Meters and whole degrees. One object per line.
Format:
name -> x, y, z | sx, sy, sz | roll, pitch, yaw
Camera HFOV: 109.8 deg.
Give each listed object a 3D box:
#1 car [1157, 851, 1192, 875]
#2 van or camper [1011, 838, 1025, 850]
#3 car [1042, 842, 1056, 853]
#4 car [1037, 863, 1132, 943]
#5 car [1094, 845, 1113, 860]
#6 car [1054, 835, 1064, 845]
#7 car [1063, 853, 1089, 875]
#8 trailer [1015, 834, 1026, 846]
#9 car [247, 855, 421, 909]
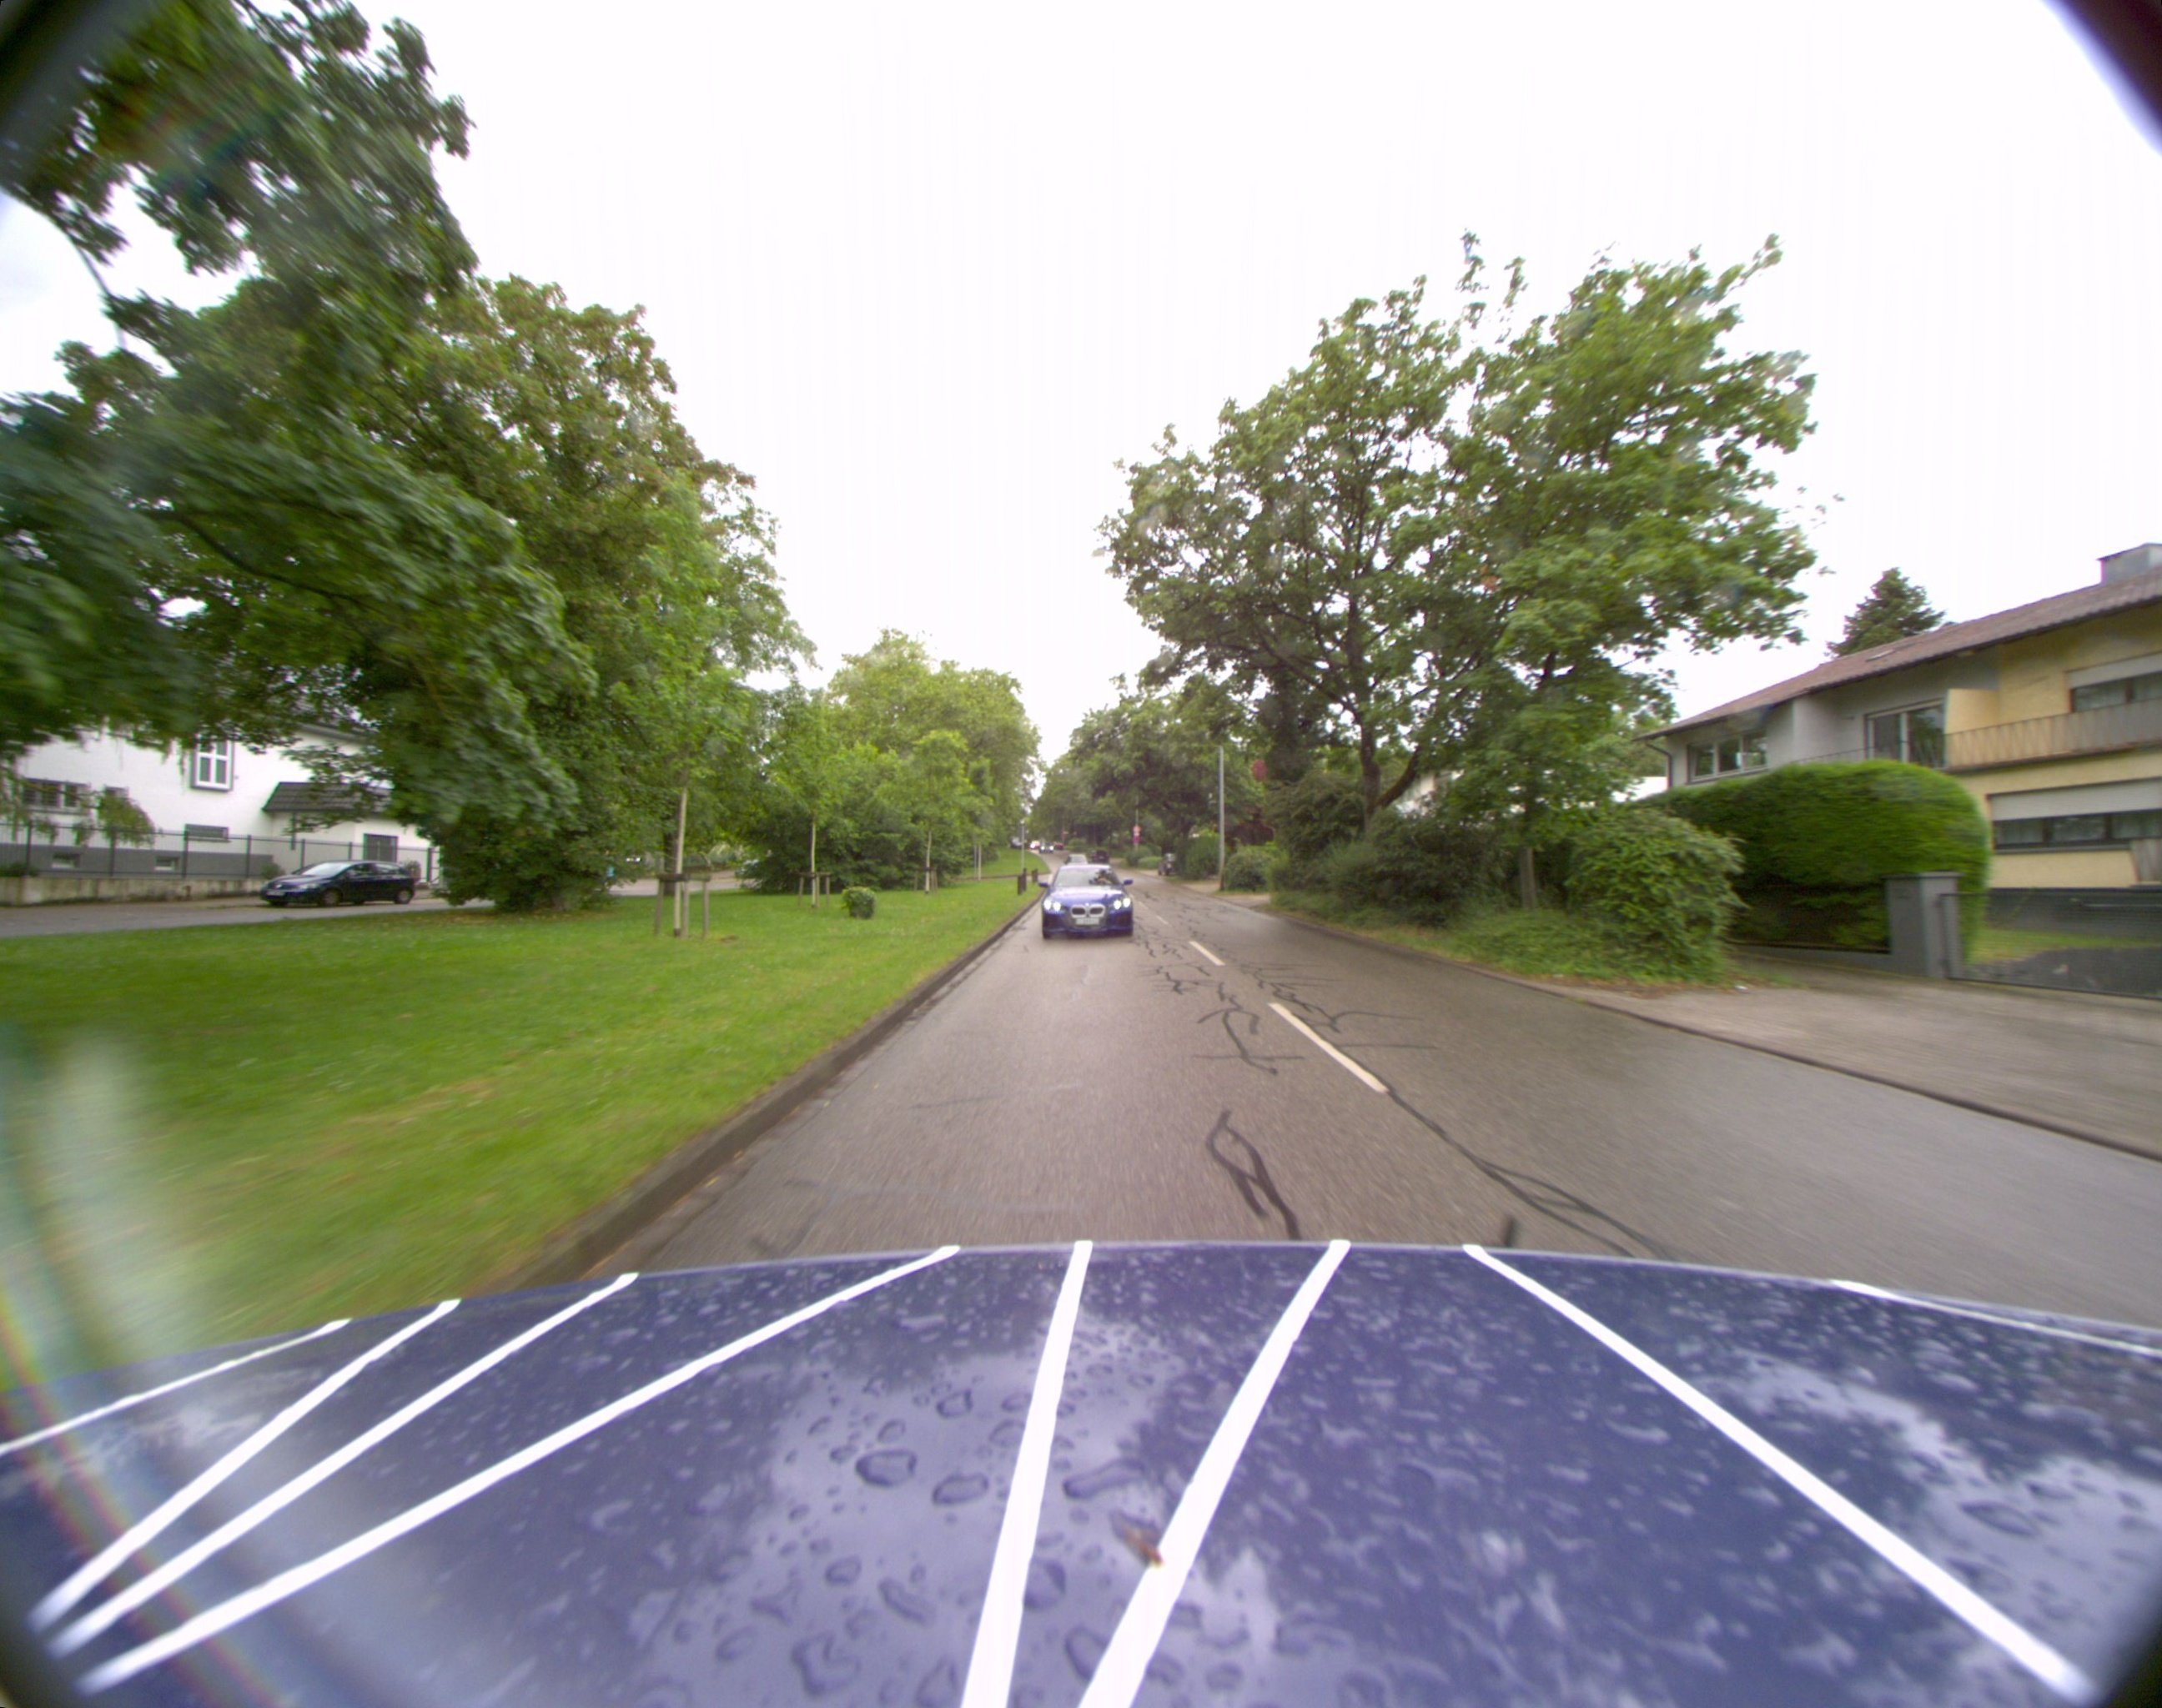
car -> 6.628, 0.591, 54.222 | 1.668, 1.533, 4.282 | -3, 1, -4
van or camper -> -10.064, -1.640, 121.229 | 2.000, 1.858, 5.659 | 1, 2, -7
car -> -4.584, -0.878, 108.521 | 1.678, 1.542, 3.832 | 1, 0, 1
car -> 0.157, 0.975, 16.958 | 1.796, 1.458, 4.511 | -1, 0, 2
car -> 2.378, -0.156, 80.346 | 1.759, 1.356, 4.322 | 2, 3, -1
car -> -3.701, -2.362, 126.206 | 1.694, 1.389, 4.487 | 0, 3, -2
car -> -0.318, 0.707, 53.121 | 1.796, 1.458, 4.511 | 0, -1, 0
trailer -> -10.093, -2.320, 126.107 | 1.702, 2.042, 3.947 | 0, 2, -7
car -> -24.693, 0.858, 25.350 | 1.907, 1.615, 4.034 | 1, 0, -2
